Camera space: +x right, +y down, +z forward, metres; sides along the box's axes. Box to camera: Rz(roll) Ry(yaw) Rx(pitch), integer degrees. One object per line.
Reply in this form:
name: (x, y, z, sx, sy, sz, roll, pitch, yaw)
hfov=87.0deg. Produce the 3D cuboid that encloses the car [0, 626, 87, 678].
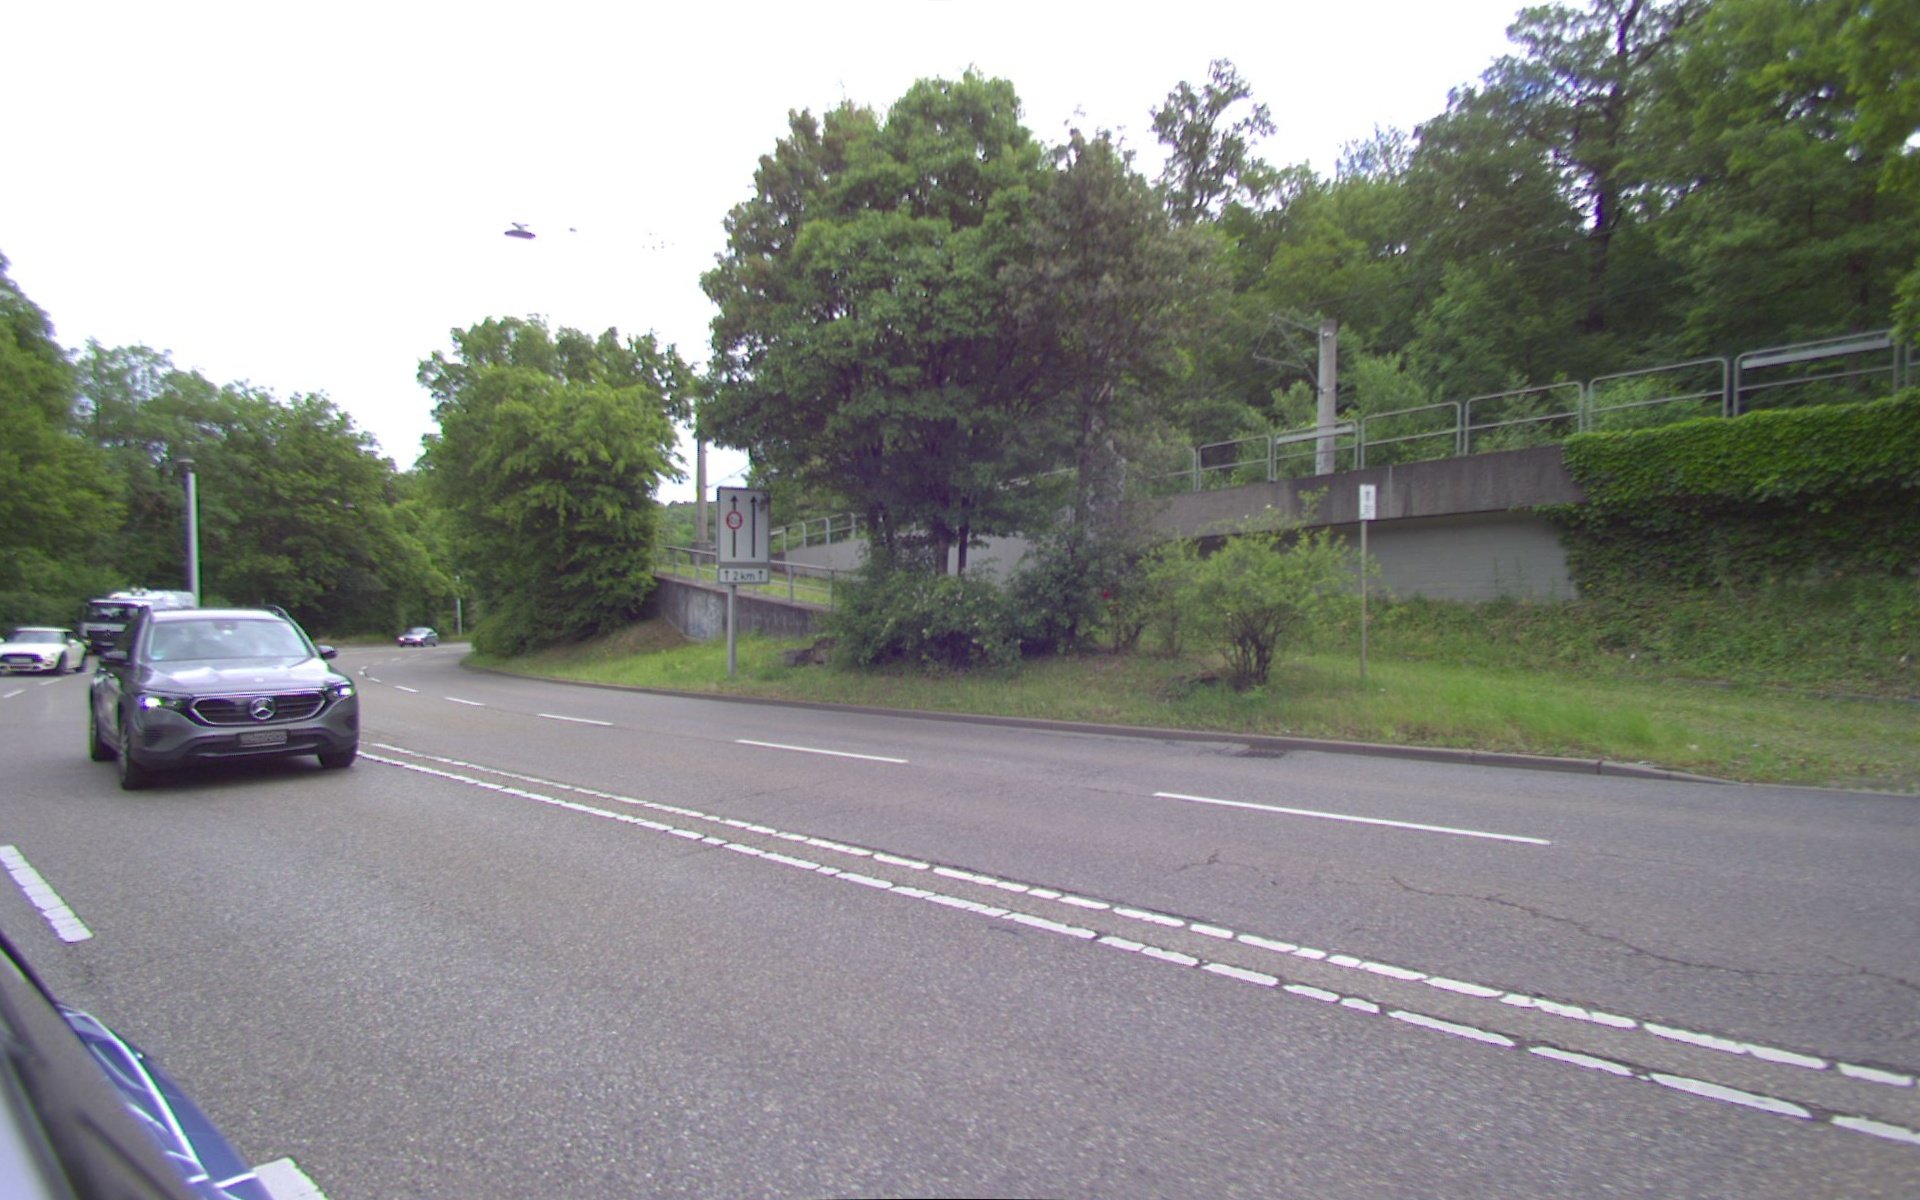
car: (-27.934, 1.535, 30.565, 1.661, 1.435, 3.744, 2, -2, -30)

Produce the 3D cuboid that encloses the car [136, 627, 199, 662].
car: (-35.057, 1.958, 44.875, 1.727, 1.436, 4.022, 3, -3, -32)

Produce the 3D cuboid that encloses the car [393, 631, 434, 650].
car: (-40.184, 2.990, 74.517, 1.727, 1.372, 4.021, 2, -3, -14)

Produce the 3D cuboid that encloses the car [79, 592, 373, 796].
car: (-7.698, 0.826, 10.438, 1.828, 1.664, 4.360, 1, -2, -44)

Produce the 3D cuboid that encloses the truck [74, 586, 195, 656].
truck: (-40.139, 1.041, 49.461, 2.164, 3.180, 6.670, 0, -2, -16)

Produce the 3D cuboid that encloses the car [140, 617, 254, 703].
car: (-16.697, 1.244, 22.126, 1.826, 1.664, 4.366, 1, -2, -38)
